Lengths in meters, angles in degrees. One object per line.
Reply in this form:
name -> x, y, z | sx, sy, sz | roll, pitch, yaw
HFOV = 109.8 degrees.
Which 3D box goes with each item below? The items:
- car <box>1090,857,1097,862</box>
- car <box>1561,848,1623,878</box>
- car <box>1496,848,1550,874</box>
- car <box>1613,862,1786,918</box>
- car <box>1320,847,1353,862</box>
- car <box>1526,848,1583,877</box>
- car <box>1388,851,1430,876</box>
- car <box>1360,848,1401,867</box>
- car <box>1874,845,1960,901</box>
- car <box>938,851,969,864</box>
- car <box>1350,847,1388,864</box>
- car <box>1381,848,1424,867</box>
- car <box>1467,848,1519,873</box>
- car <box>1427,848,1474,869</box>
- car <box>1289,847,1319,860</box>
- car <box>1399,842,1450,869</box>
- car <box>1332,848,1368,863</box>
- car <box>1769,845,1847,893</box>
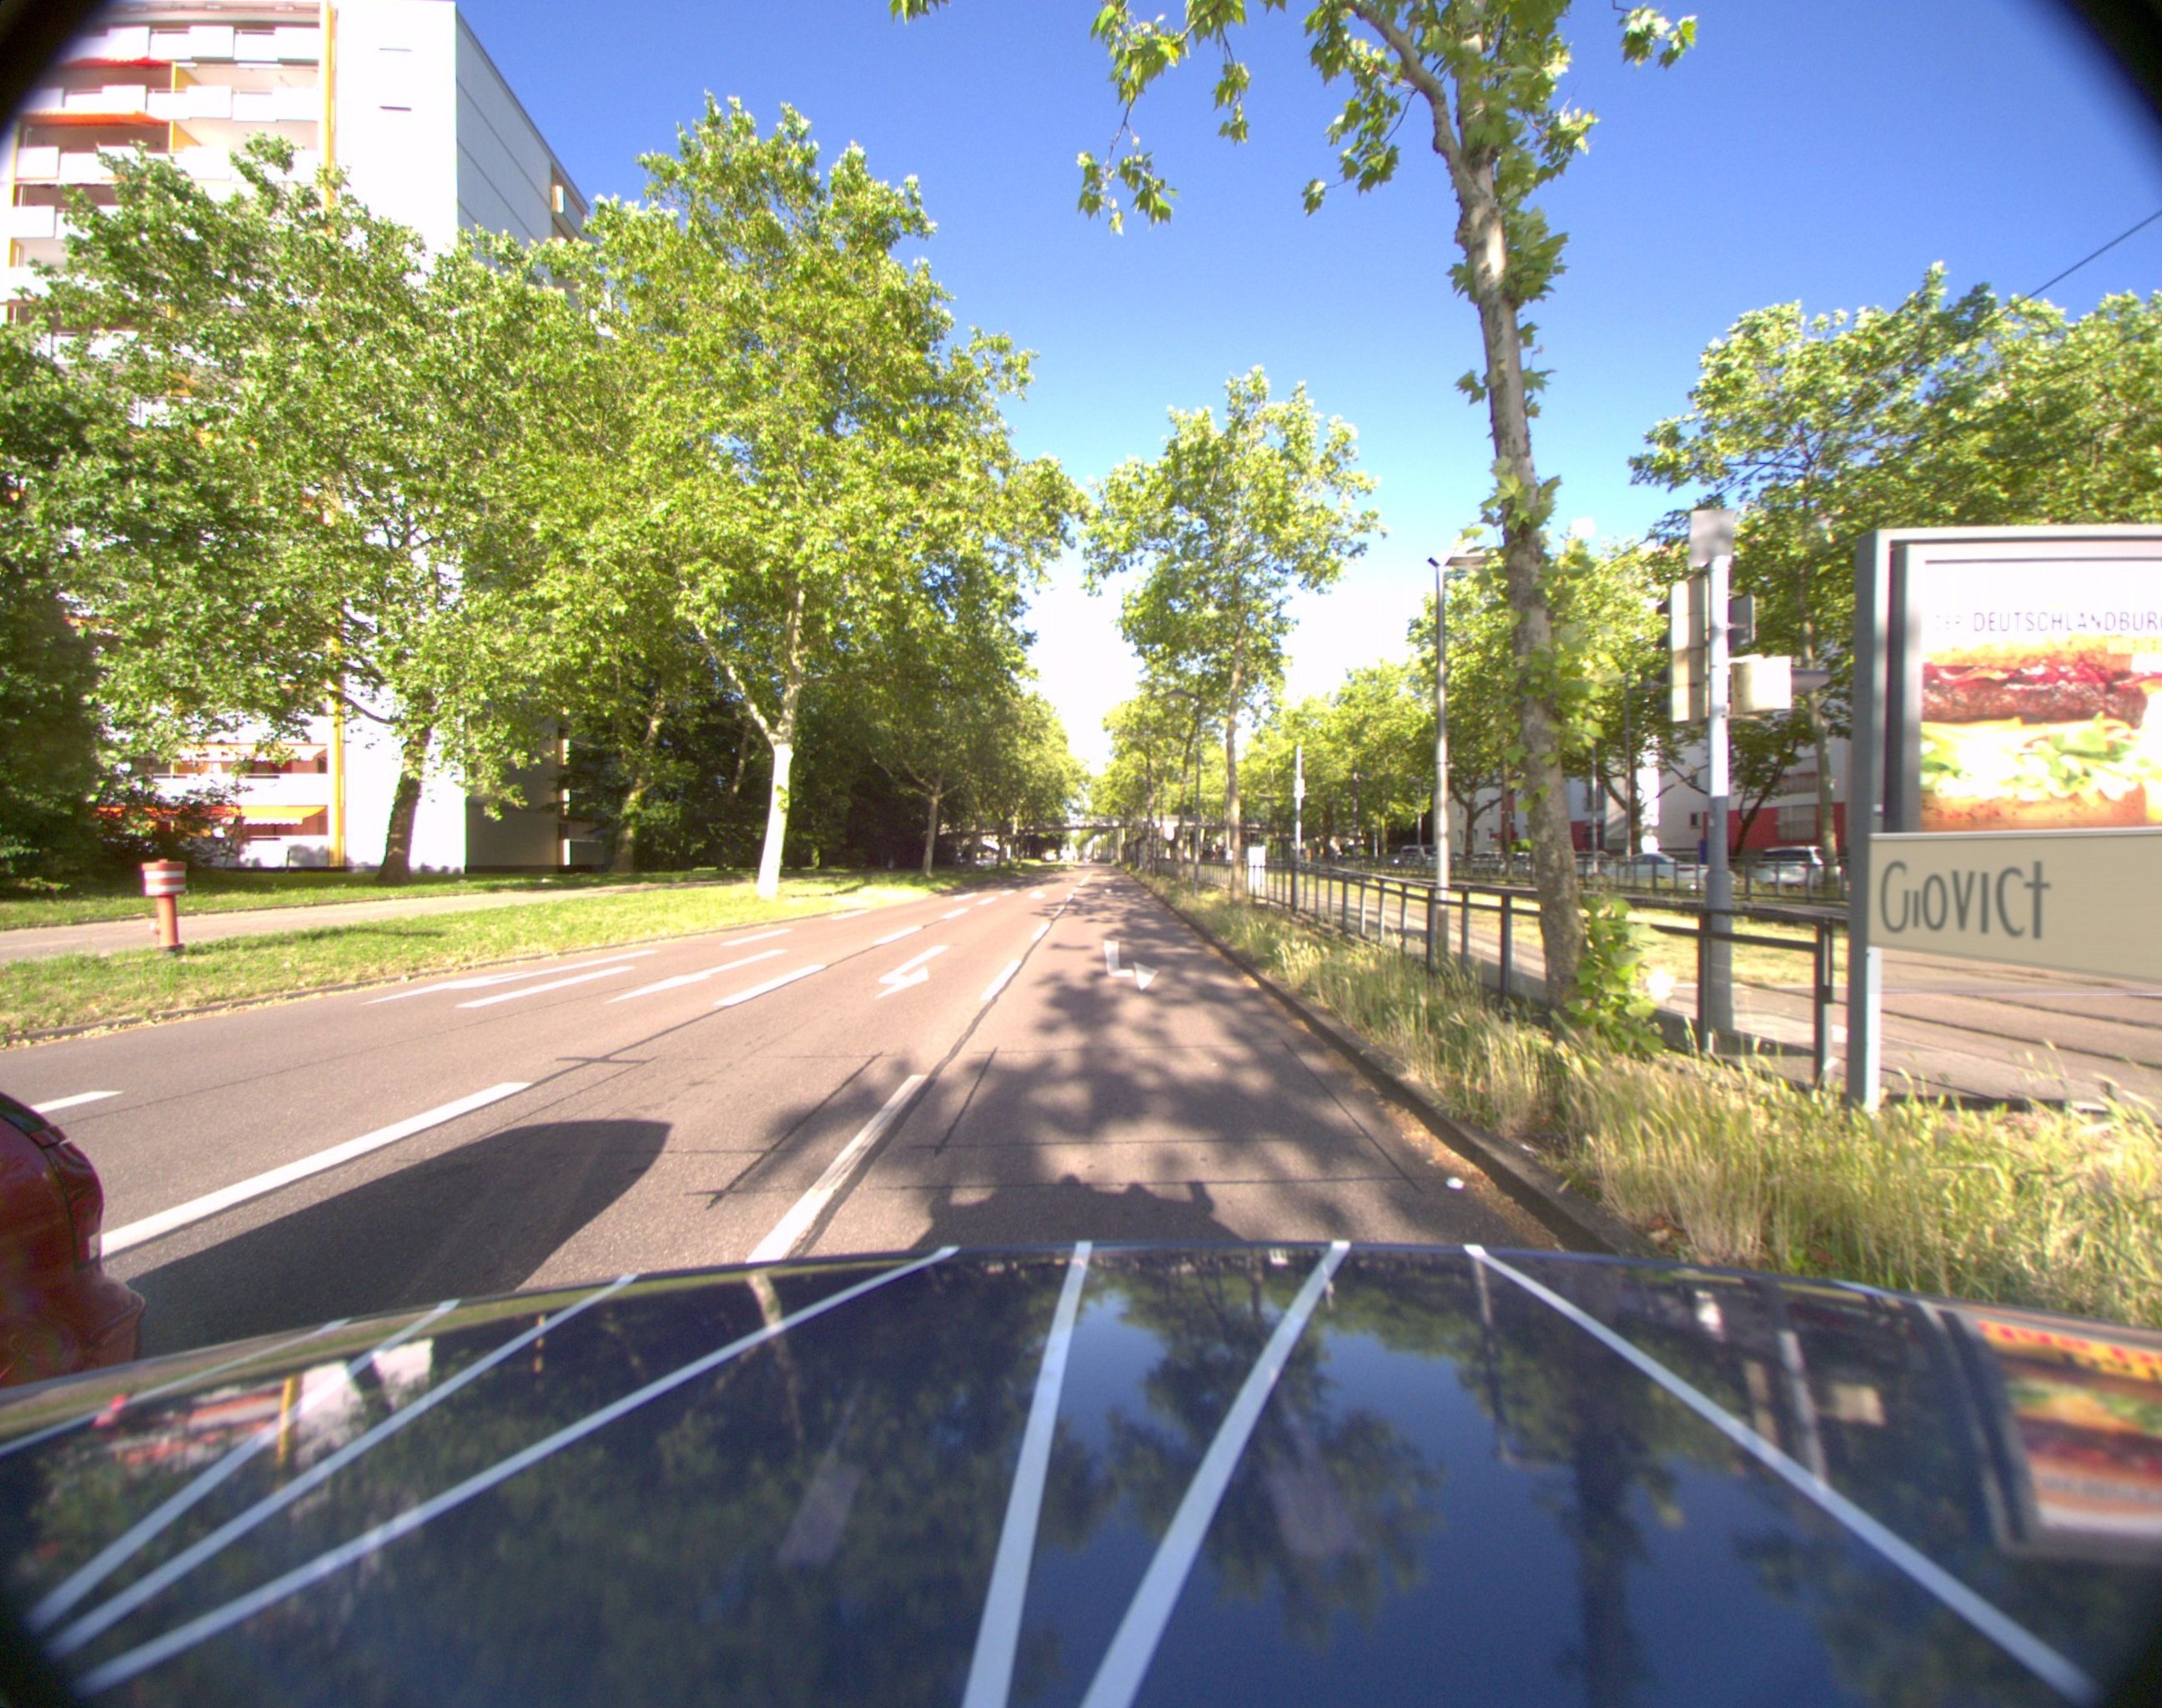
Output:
car -> 3.230, 1.388, 195.392 | 1.580, 1.395, 3.638 | -2, 0, 0
car -> 25.383, 0.449, 37.692 | 3.811, 1.348, 1.652 | -2, 0, -42
car -> 26.099, 0.408, 44.858 | 3.811, 1.433, 1.652 | -2, 0, -42
car -> 19.521, 1.068, 24.298 | 1.655, 1.501, 4.642 | -2, 0, -2
car -> 26.786, 0.048, 79.619 | 3.811, 1.433, 1.652 | -2, 0, -42
car -> 25.864, 0.444, 41.473 | 3.811, 1.433, 1.652 | -2, 0, -42
car -> 20.868, 0.583, 48.388 | 1.579, 1.548, 2.817 | -2, 0, 3
car -> 24.944, 0.274, 63.203 | 3.811, 1.433, 1.652 | -2, 0, -42
car -> 25.245, 0.525, 22.960 | 3.811, 1.501, 1.652 | -2, 0, -42
car -> -19.810, 0.526, 118.279 | 4.720, 1.924, 1.906 | -2, 0, -8
car -> 26.619, 0.137, 70.128 | 3.811, 1.433, 1.652 | -2, 0, -42
car -> 25.730, 0.271, 60.746 | 3.811, 1.433, 1.652 | -2, 0, -42
car -> 25.852, 0.399, 47.673 | 3.811, 1.433, 1.652 | -2, 0, -42
car -> 26.303, 0.312, 54.026 | 3.811, 1.433, 1.652 | -2, 0, -42
car -> 26.439, -0.045, 89.969 | 3.811, 1.433, 1.652 | -2, 0, -42
car -> 25.819, 0.091, 57.024 | 4.330, 1.863, 1.836 | -2, 0, -42
car -> 26.066, 0.136, 73.559 | 3.811, 1.433, 1.652 | -2, 0, -42
car -> 25.359, 0.490, 26.469 | 3.811, 1.501, 1.652 | -2, 0, -42
